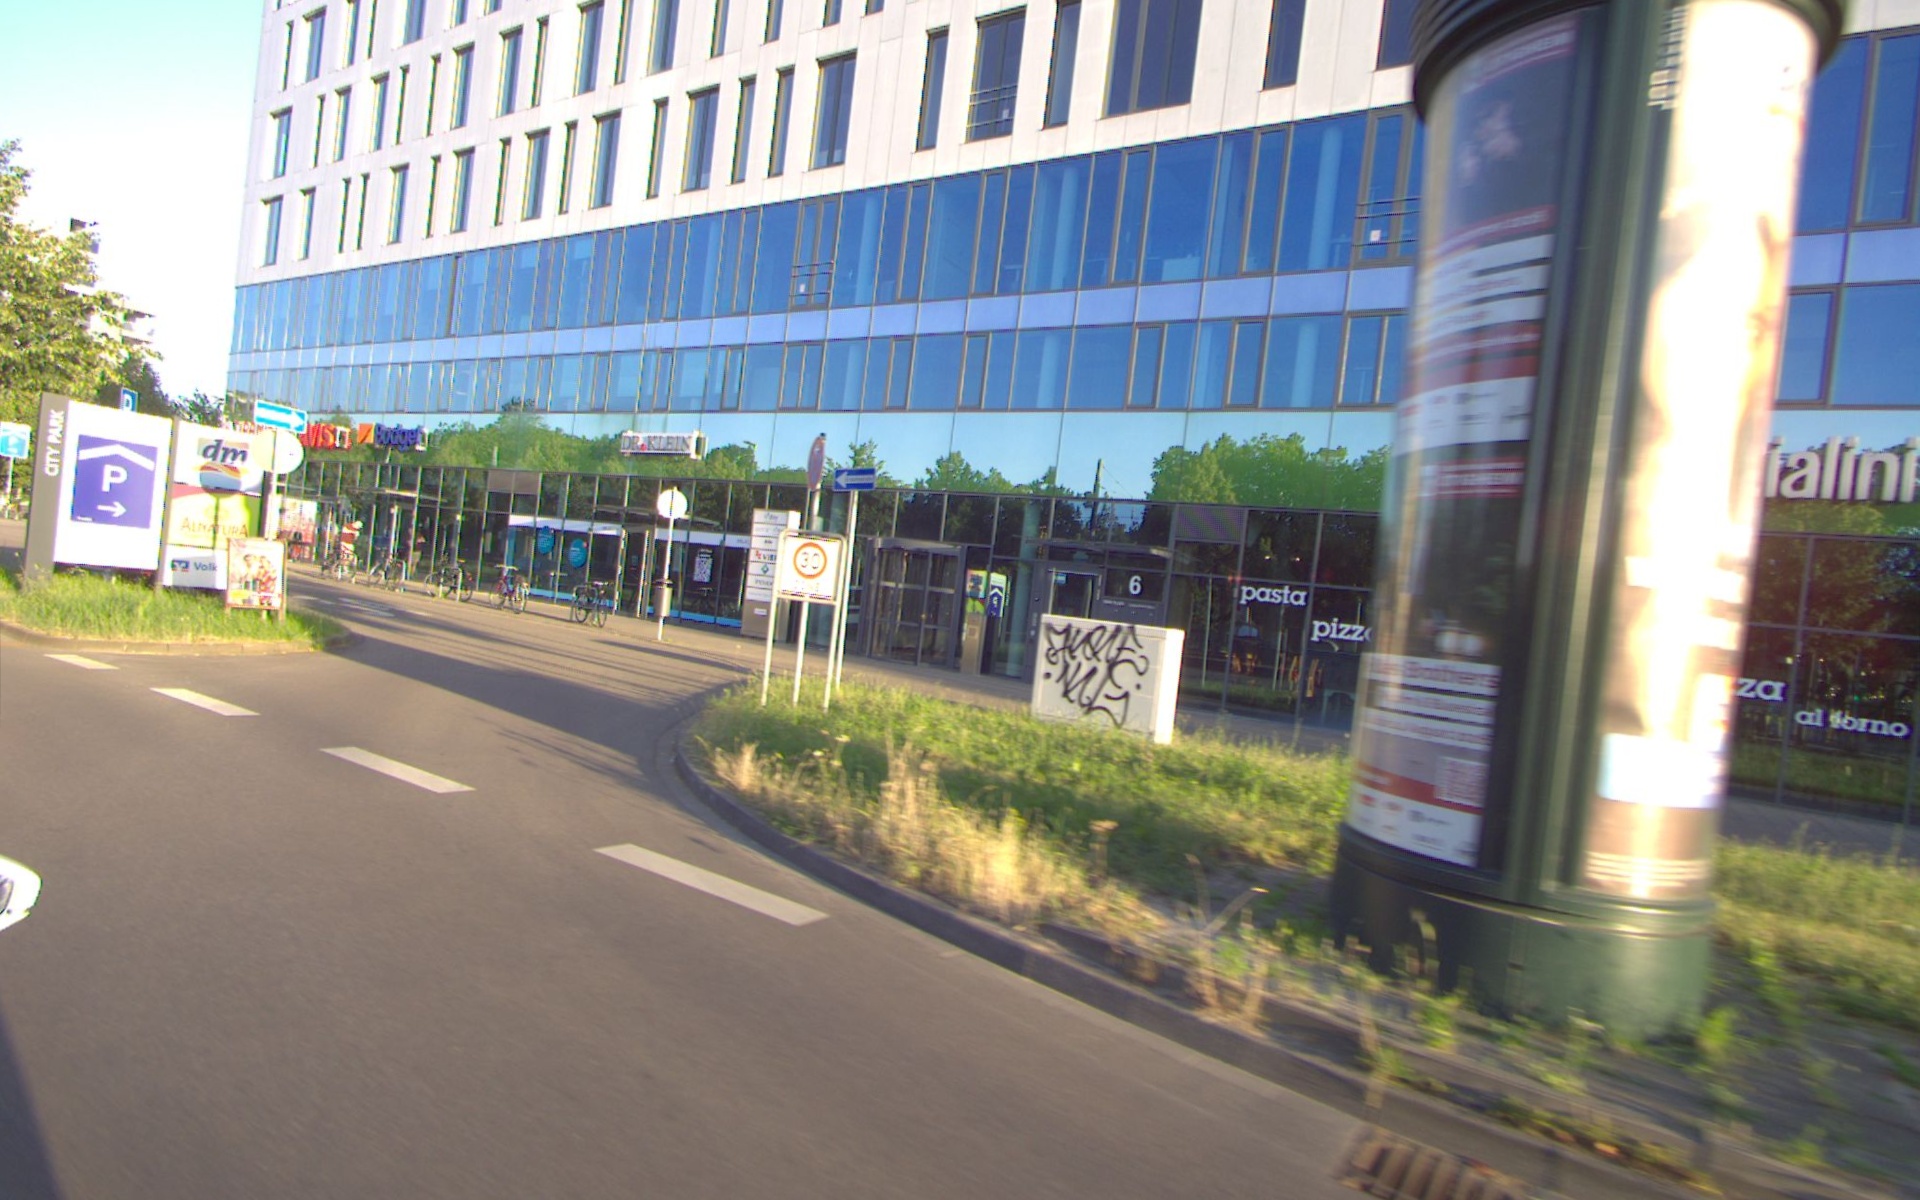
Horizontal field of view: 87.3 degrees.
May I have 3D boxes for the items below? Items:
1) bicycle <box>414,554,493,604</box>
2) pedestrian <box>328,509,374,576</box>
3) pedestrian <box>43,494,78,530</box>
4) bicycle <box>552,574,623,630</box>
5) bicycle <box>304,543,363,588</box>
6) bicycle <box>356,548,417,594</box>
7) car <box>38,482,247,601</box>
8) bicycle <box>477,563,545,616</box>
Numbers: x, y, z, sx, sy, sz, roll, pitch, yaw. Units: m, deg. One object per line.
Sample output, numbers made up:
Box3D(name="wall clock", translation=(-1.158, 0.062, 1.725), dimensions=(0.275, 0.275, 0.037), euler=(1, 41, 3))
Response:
Box3D(name="bicycle", translation=(-13.370, -0.562, 26.530), dimensions=(2.084, 1.081, 0.636), euler=(7, 0, 25))
Box3D(name="pedestrian", translation=(-20.341, -1.923, 33.611), dimensions=(1.095, 2.117, 0.812), euler=(7, 2, 35))
Box3D(name="pedestrian", translation=(-40.589, -3.970, 45.380), dimensions=(1.038, 1.460, 0.825), euler=(7, 1, 32))
Box3D(name="bicycle", translation=(-8.677, 0.031, 23.399), dimensions=(1.975, 1.081, 0.541), euler=(7, 0, 39))
Box3D(name="bicycle", translation=(-18.278, -1.013, 29.346), dimensions=(2.089, 1.081, 0.634), euler=(7, 0, 35))
Box3D(name="bicycle", translation=(-16.046, -0.811, 28.115), dimensions=(2.090, 1.081, 0.634), euler=(7, 0, 37))
Box3D(name="car", translation=(-16.291, -1.189, 19.999), dimensions=(4.324, 1.849, 1.854), euler=(6, -2, 33))
Box3D(name="bicycle", translation=(-11.079, -0.275, 24.785), dimensions=(2.093, 1.081, 0.633), euler=(7, 0, 42))
